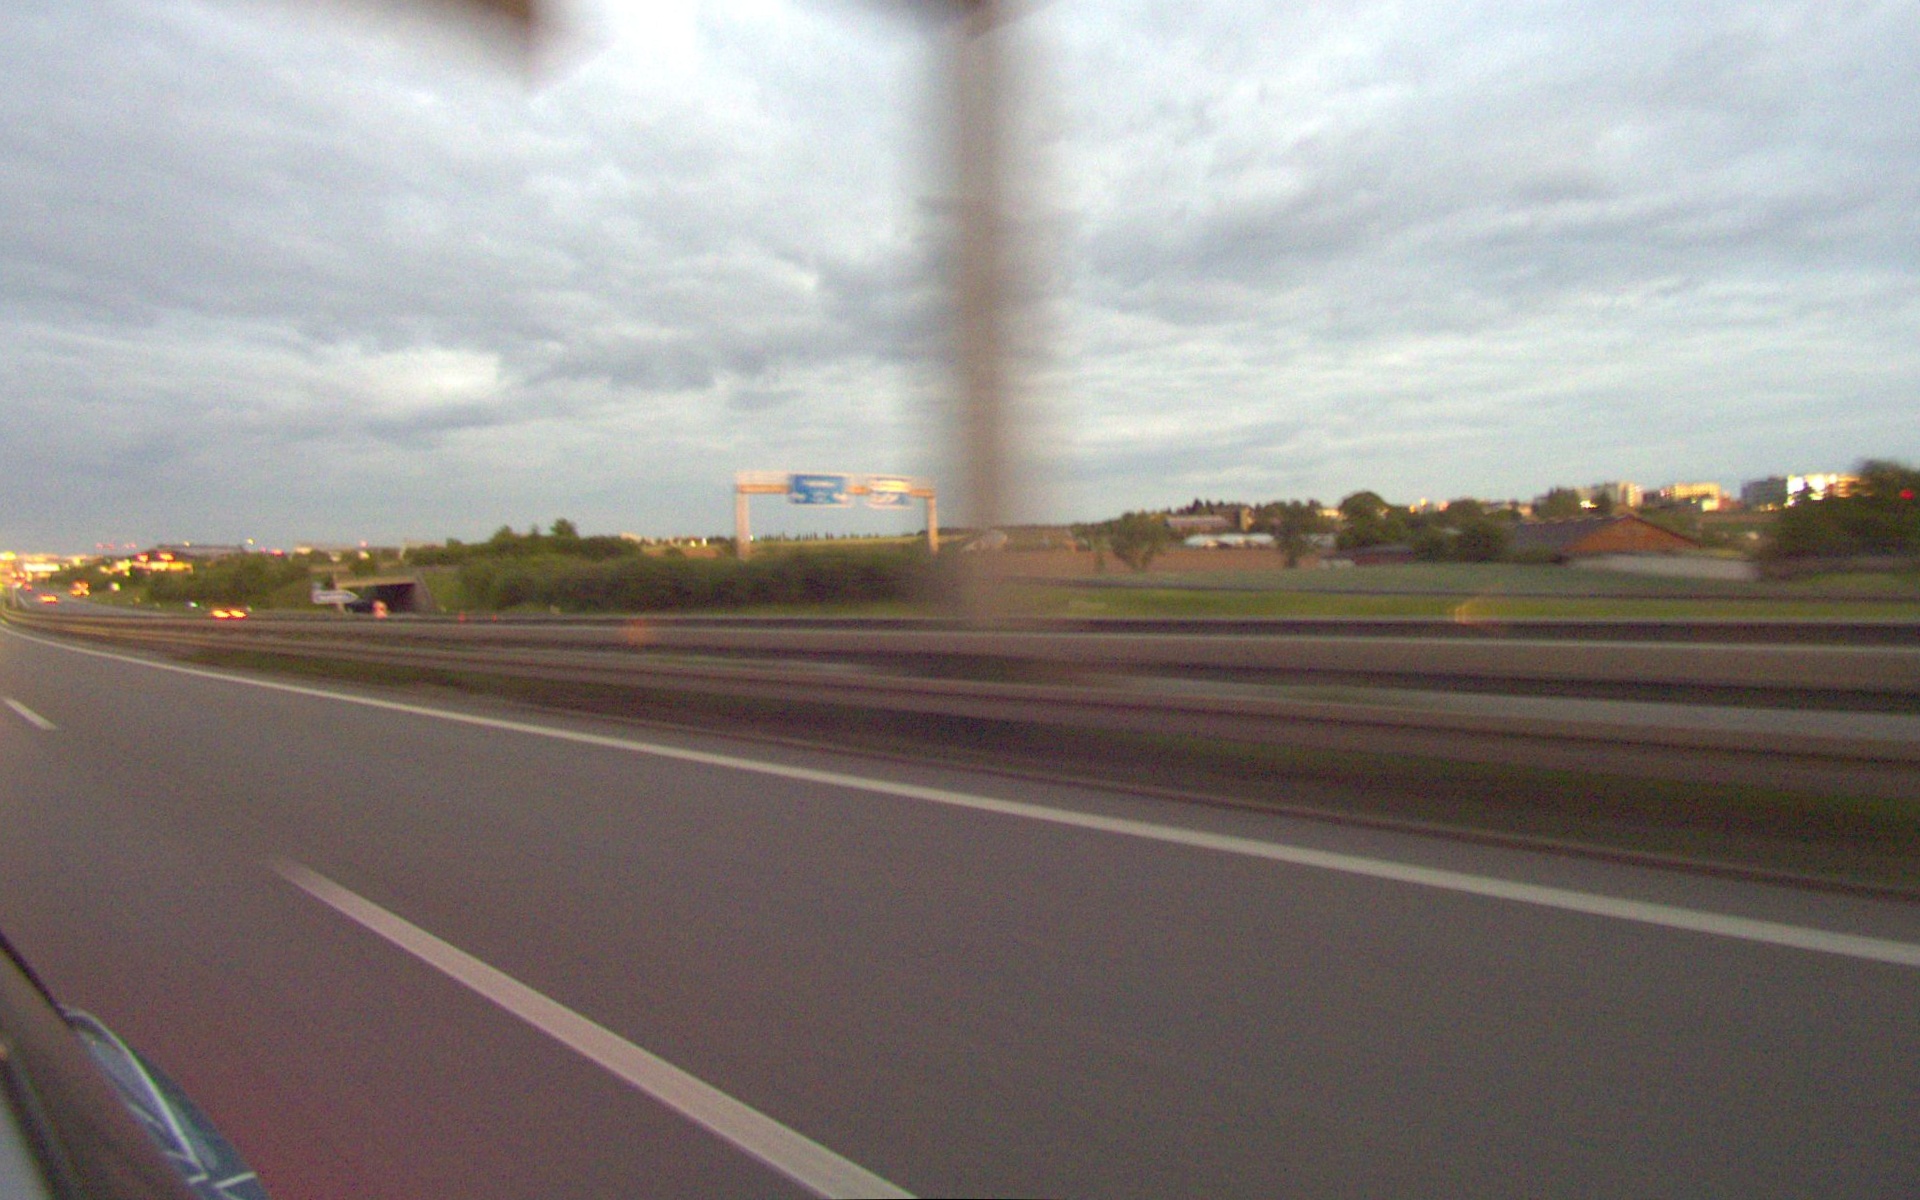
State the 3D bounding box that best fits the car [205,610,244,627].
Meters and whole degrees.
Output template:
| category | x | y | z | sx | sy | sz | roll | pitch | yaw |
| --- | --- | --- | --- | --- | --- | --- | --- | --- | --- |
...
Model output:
| category | x | y | z | sx | sy | sz | roll | pitch | yaw |
| --- | --- | --- | --- | --- | --- | --- | --- | --- | --- |
| car | -67.260 | 1.695 | 92.539 | 4.328 | 1.414 | 1.972 | -1 | 1 | 42 |
